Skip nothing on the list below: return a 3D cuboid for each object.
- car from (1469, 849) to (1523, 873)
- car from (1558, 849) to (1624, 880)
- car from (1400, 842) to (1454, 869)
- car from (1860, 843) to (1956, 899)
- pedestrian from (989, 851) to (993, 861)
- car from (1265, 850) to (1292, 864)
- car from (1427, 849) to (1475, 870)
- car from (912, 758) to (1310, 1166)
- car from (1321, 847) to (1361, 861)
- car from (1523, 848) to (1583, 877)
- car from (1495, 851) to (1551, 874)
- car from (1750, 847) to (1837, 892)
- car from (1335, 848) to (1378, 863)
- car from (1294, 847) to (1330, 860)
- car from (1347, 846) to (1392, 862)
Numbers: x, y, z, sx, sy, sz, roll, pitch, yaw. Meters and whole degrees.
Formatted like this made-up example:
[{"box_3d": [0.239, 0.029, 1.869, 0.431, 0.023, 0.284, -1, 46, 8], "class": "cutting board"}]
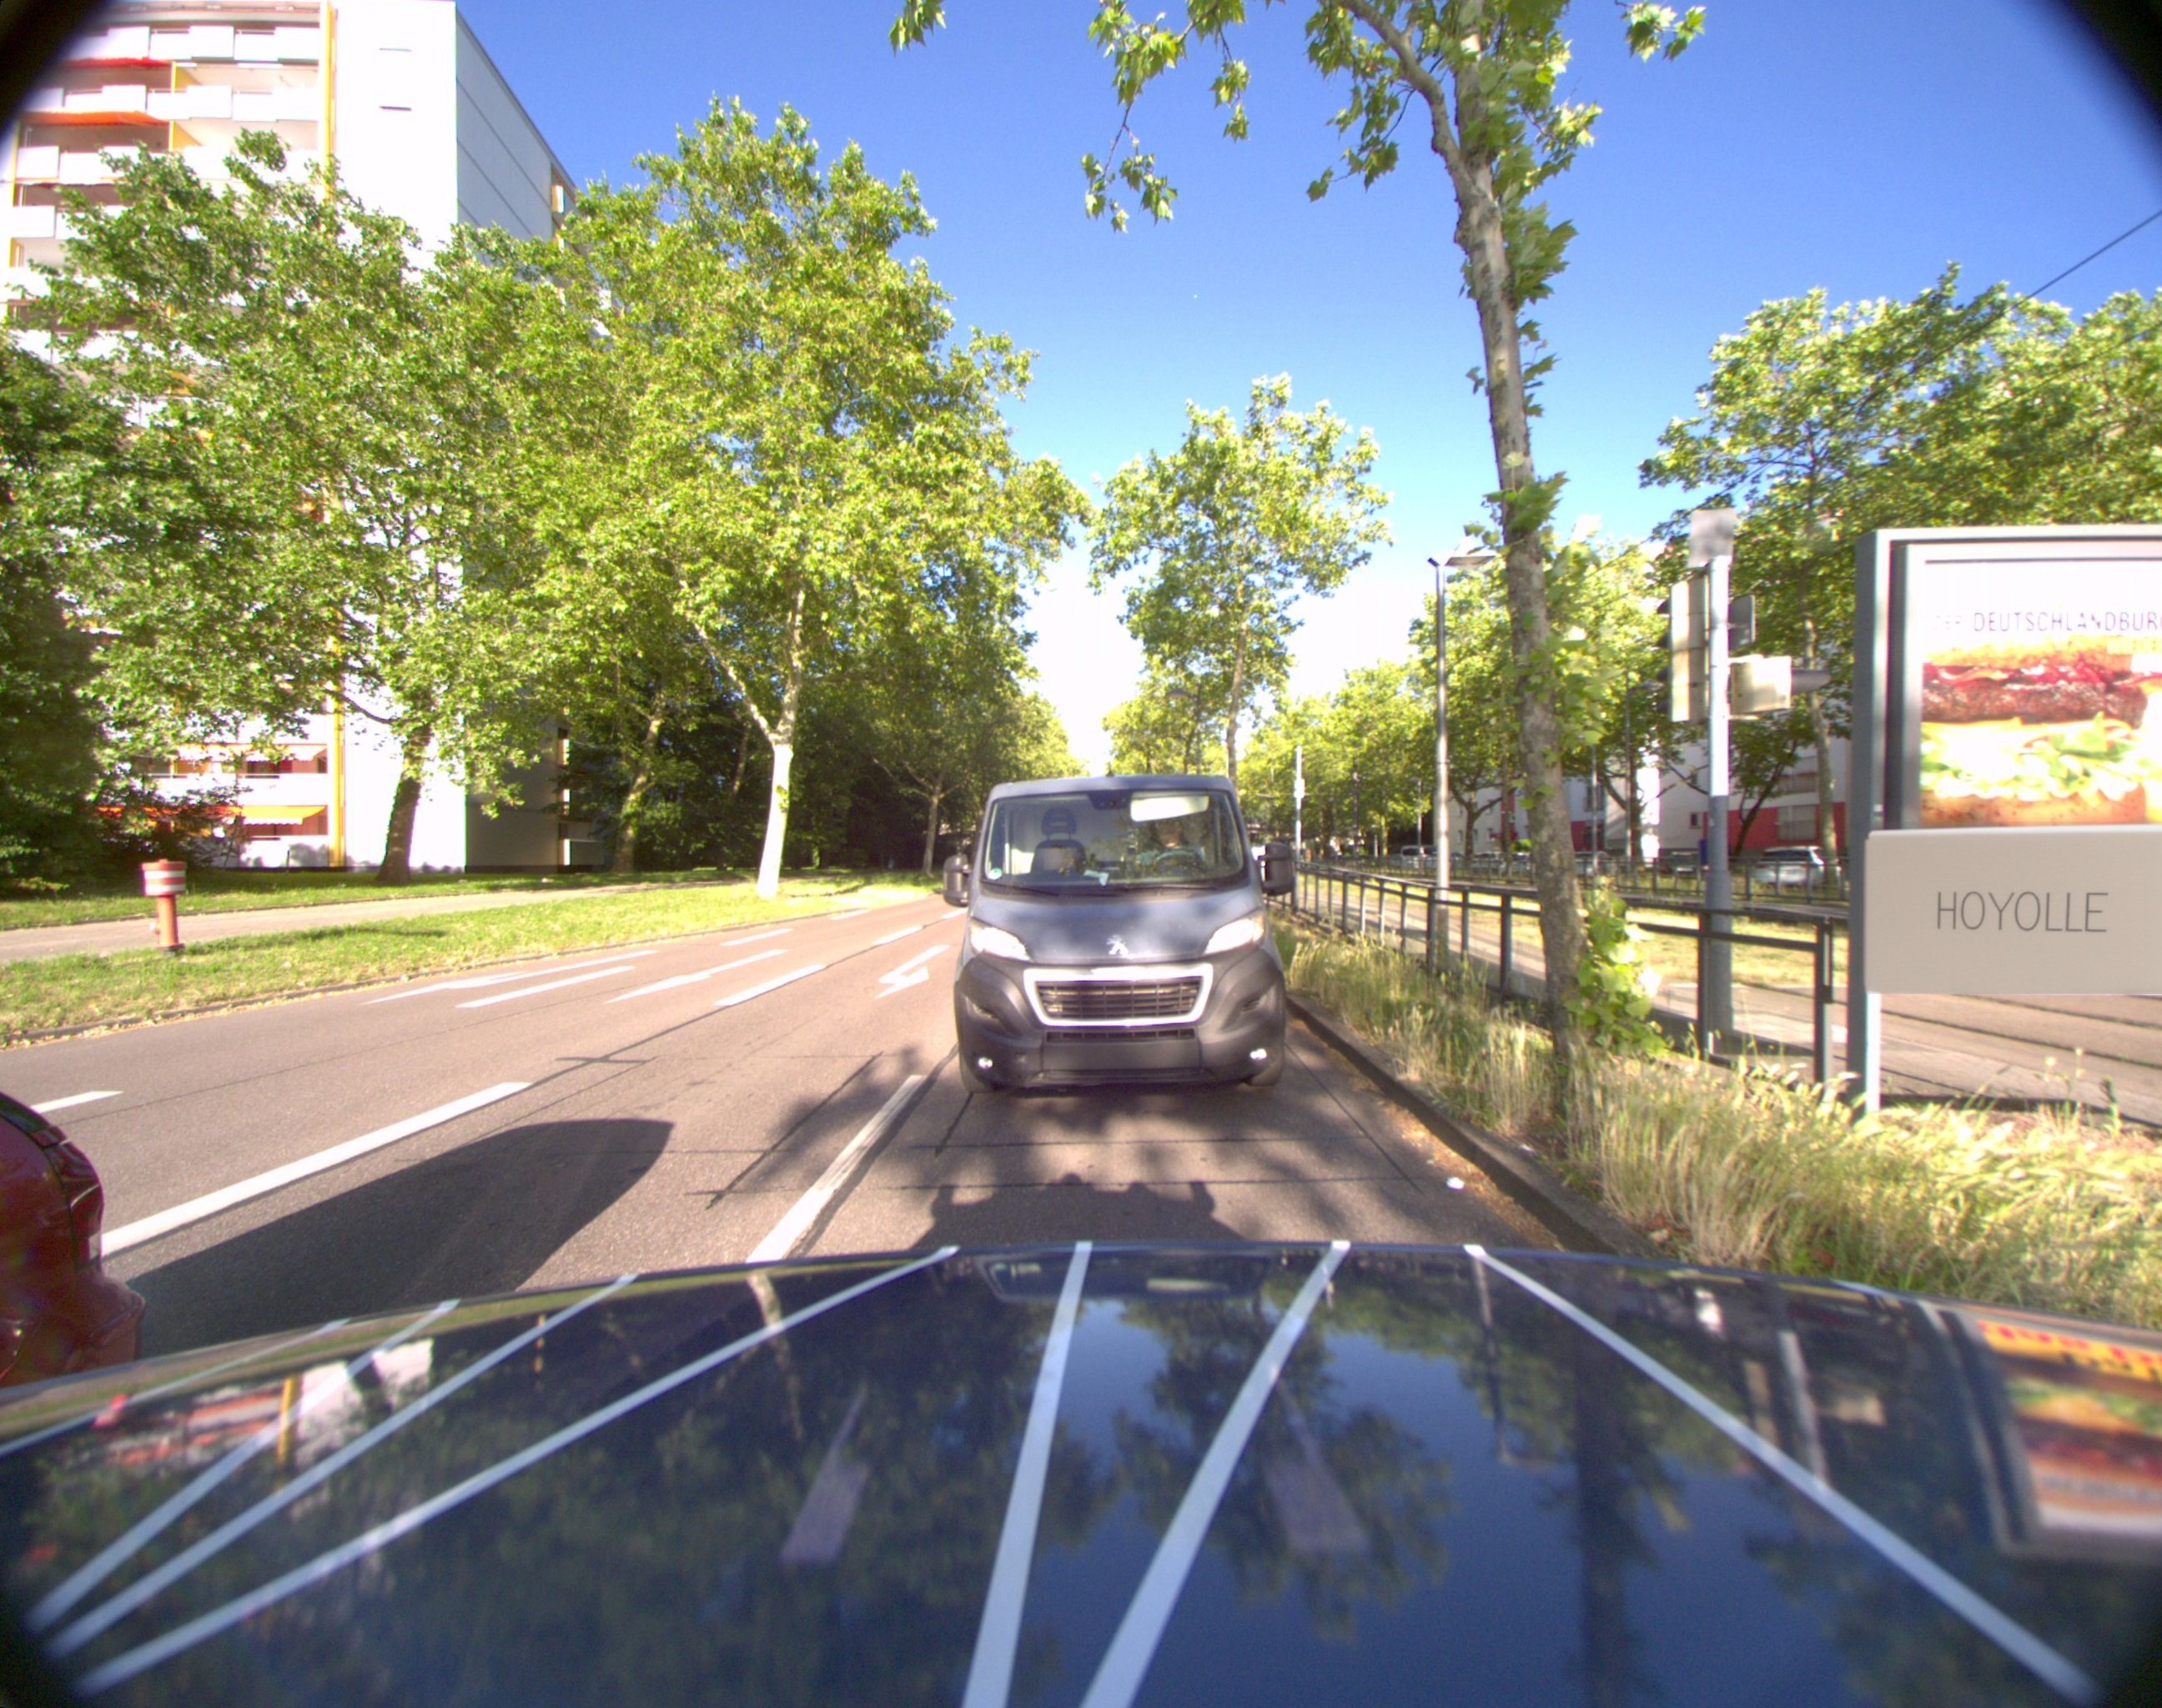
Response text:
[{"box_3d": [25.953, 0.416, 47.488, 3.689, 1.440, 1.645, -1, 1, -39], "class": "car"}, {"box_3d": [25.326, 0.502, 37.683, 3.689, 1.384, 1.645, -1, 1, -38], "class": "car"}, {"box_3d": [25.956, 0.086, 56.985, 4.376, 1.873, 1.919, -1, 1, -39], "class": "car"}, {"box_3d": [25.014, 0.463, 22.953, 3.689, 1.558, 1.683, -1, 1, -38], "class": "car"}, {"box_3d": [-13.431, 0.245, 113.527, 0.398, 1.454, 0.417, -1, 1, 2], "class": "pedestrian"}, {"box_3d": [20.684, 0.262, 79.685, 1.825, 1.412, 3.758, -1, 0, 1], "class": "car"}, {"box_3d": [26.241, 0.349, 53.891, 3.689, 1.388, 1.645, -1, 1, -39], "class": "car"}, {"box_3d": [0.196, 0.555, 6.554, 2.040, 2.102, 5.113, -1, 0, 1], "class": "car"}, {"box_3d": [27.238, 0.025, 79.567, 4.376, 1.367, 1.919, -1, 1, -39], "class": "car"}, {"box_3d": [25.806, 0.431, 41.511, 3.689, 1.440, 1.645, -1, 1, -39], "class": "car"}, {"box_3d": [26.196, 0.483, 44.953, 3.689, 1.234, 1.645, -1, 1, -39], "class": "car"}, {"box_3d": [25.052, 0.496, 26.679, 3.689, 1.425, 1.683, -1, 1, -38], "class": "car"}, {"box_3d": [26.584, 0.100, 73.271, 4.376, 1.367, 1.919, -1, 1, -39], "class": "car"}, {"box_3d": [27.197, -0.059, 89.421, 4.376, 1.367, 1.919, -1, 1, -39], "class": "car"}, {"box_3d": [26.669, -0.005, 70.108, 4.376, 1.367, 1.919, -1, 1, -39], "class": "car"}]
